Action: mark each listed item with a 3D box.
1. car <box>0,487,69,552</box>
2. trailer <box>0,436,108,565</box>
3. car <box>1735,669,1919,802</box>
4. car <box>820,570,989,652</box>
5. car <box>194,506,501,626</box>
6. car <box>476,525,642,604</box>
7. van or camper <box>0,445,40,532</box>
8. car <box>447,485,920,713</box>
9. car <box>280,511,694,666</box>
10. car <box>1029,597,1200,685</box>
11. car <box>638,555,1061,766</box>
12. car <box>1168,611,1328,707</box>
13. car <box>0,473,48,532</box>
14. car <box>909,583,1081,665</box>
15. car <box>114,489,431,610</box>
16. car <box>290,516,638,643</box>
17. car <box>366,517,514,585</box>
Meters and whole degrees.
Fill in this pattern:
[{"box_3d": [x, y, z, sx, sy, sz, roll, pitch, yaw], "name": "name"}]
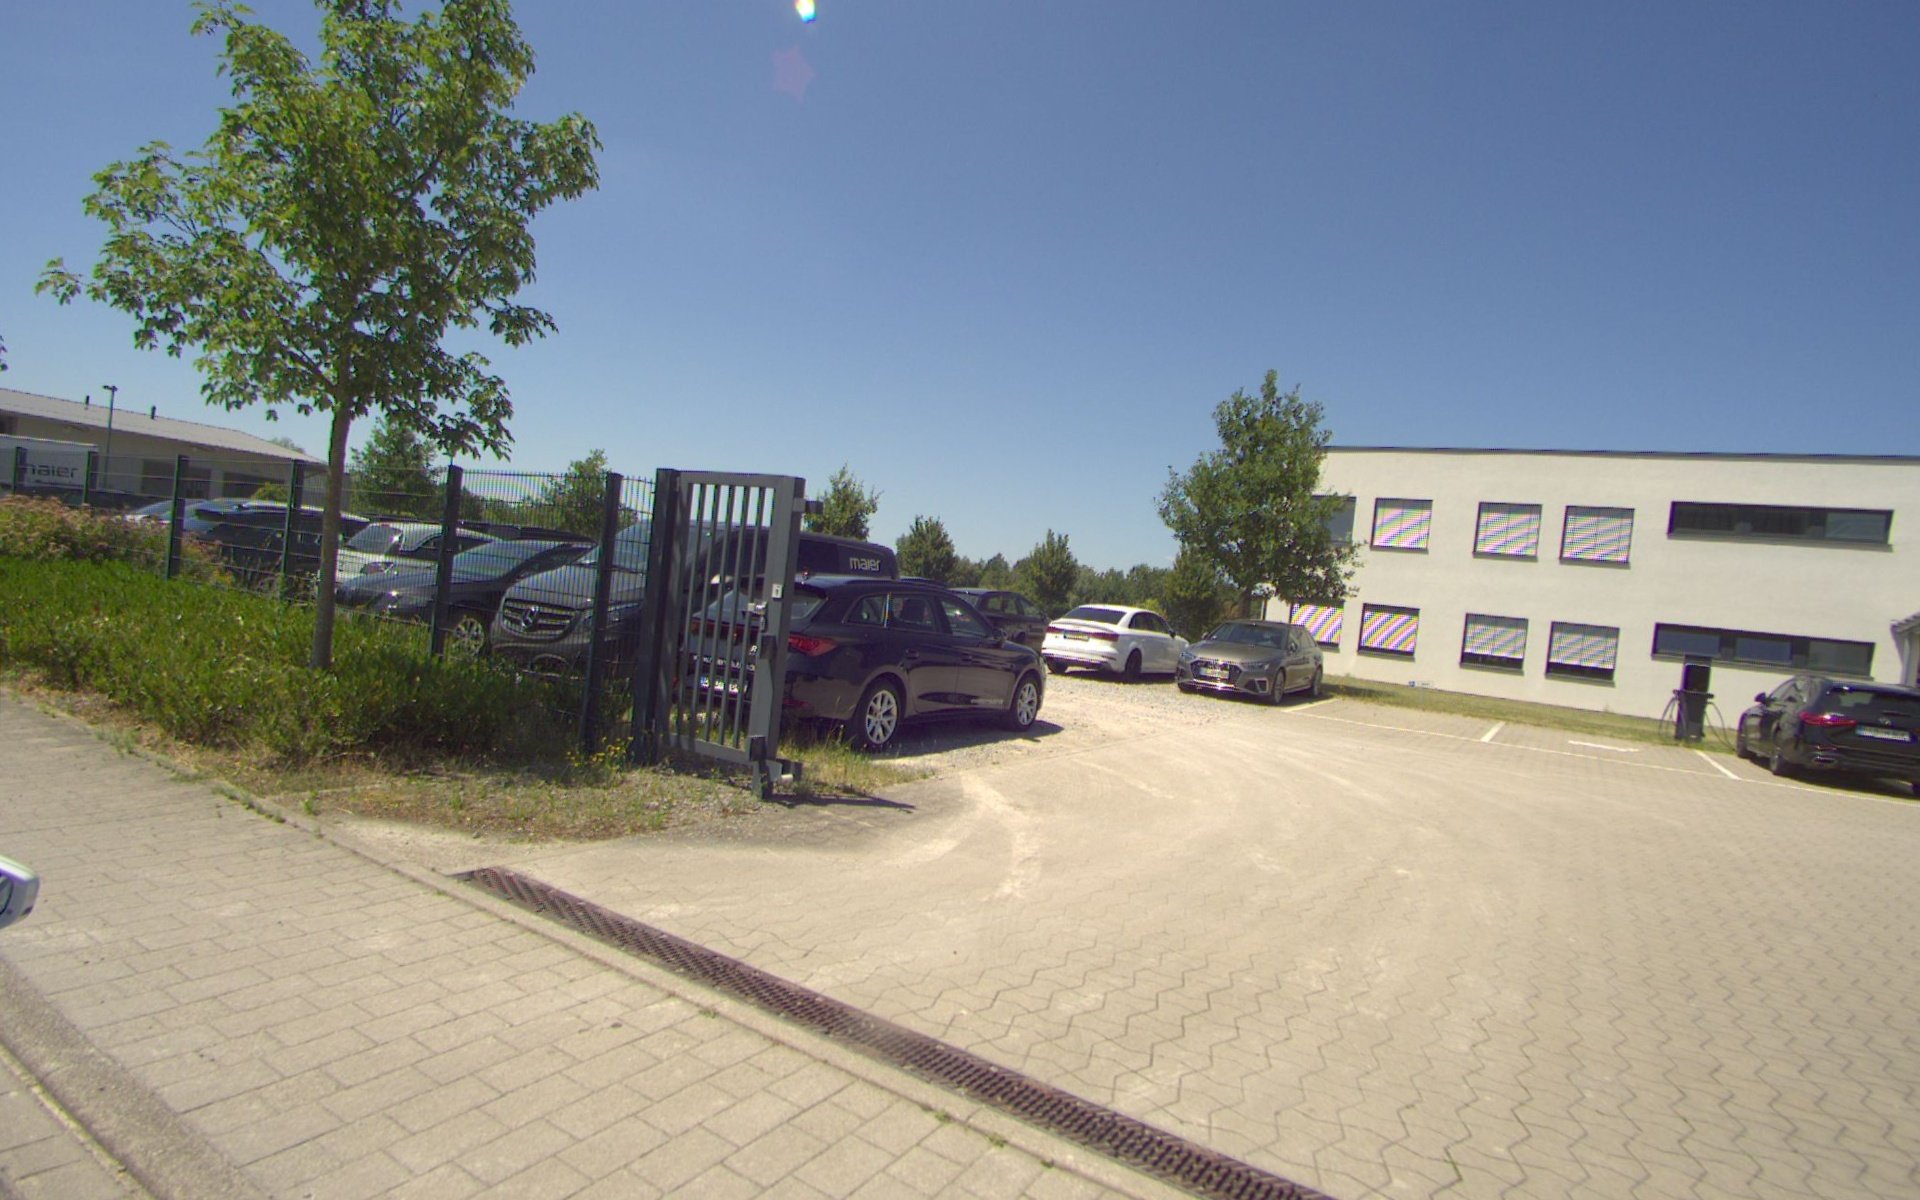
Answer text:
[{"box_3d": [-24.054, -2.086, 23.945, 1.775, 1.459, 3.844, 6, 1, 28], "name": "car"}, {"box_3d": [-19.536, -2.081, 20.555, 1.395, 2.435, 2.825, 7, 2, 28], "name": "trailer"}, {"box_3d": [12.807, 1.870, 14.638, 1.820, 1.504, 3.991, 6, 0, 31], "name": "car"}, {"box_3d": [-1.172, 0.292, 22.882, 1.739, 1.522, 3.873, 6, 1, 34], "name": "car"}, {"box_3d": [-9.360, -0.463, 15.655, 1.617, 1.440, 3.668, 6, 0, 31], "name": "car"}, {"box_3d": [-11.553, -0.984, 29.244, 1.887, 1.823, 4.044, 6, 1, 31], "name": "car"}, {"box_3d": [-32.408, -3.795, 30.027, 2.592, 2.617, 6.764, 6, 0, 31], "name": "van or camper"}, {"box_3d": [-2.706, 0.049, 11.266, 1.871, 1.898, 5.116, 6, 1, 31], "name": "car"}, {"box_3d": [-5.471, -0.048, 12.260, 1.576, 1.468, 4.347, 6, 1, 31], "name": "car"}, {"box_3d": [3.149, 0.832, 19.942, 1.739, 1.421, 3.873, 6, 1, 34], "name": "car"}, {"box_3d": [-0.781, 0.533, 9.649, 1.735, 1.440, 4.219, 6, 0, 31], "name": "car"}, {"box_3d": [5.500, 1.084, 18.860, 1.788, 1.421, 3.990, 6, 1, 31], "name": "car"}, {"box_3d": [-27.953, -2.872, 27.486, 1.778, 1.556, 4.139, 6, 1, 31], "name": "car"}, {"box_3d": [0.838, 0.553, 21.283, 1.739, 1.421, 3.873, 6, 1, 34], "name": "car"}, {"box_3d": [-11.485, -0.787, 17.091, 1.792, 1.541, 3.991, 6, 0, 31], "name": "car"}, {"box_3d": [-7.078, -0.210, 14.836, 1.726, 1.463, 4.282, 6, 1, 31], "name": "car"}, {"box_3d": [-17.824, -1.648, 34.644, 1.887, 1.830, 4.044, 6, 1, 31], "name": "car"}]
